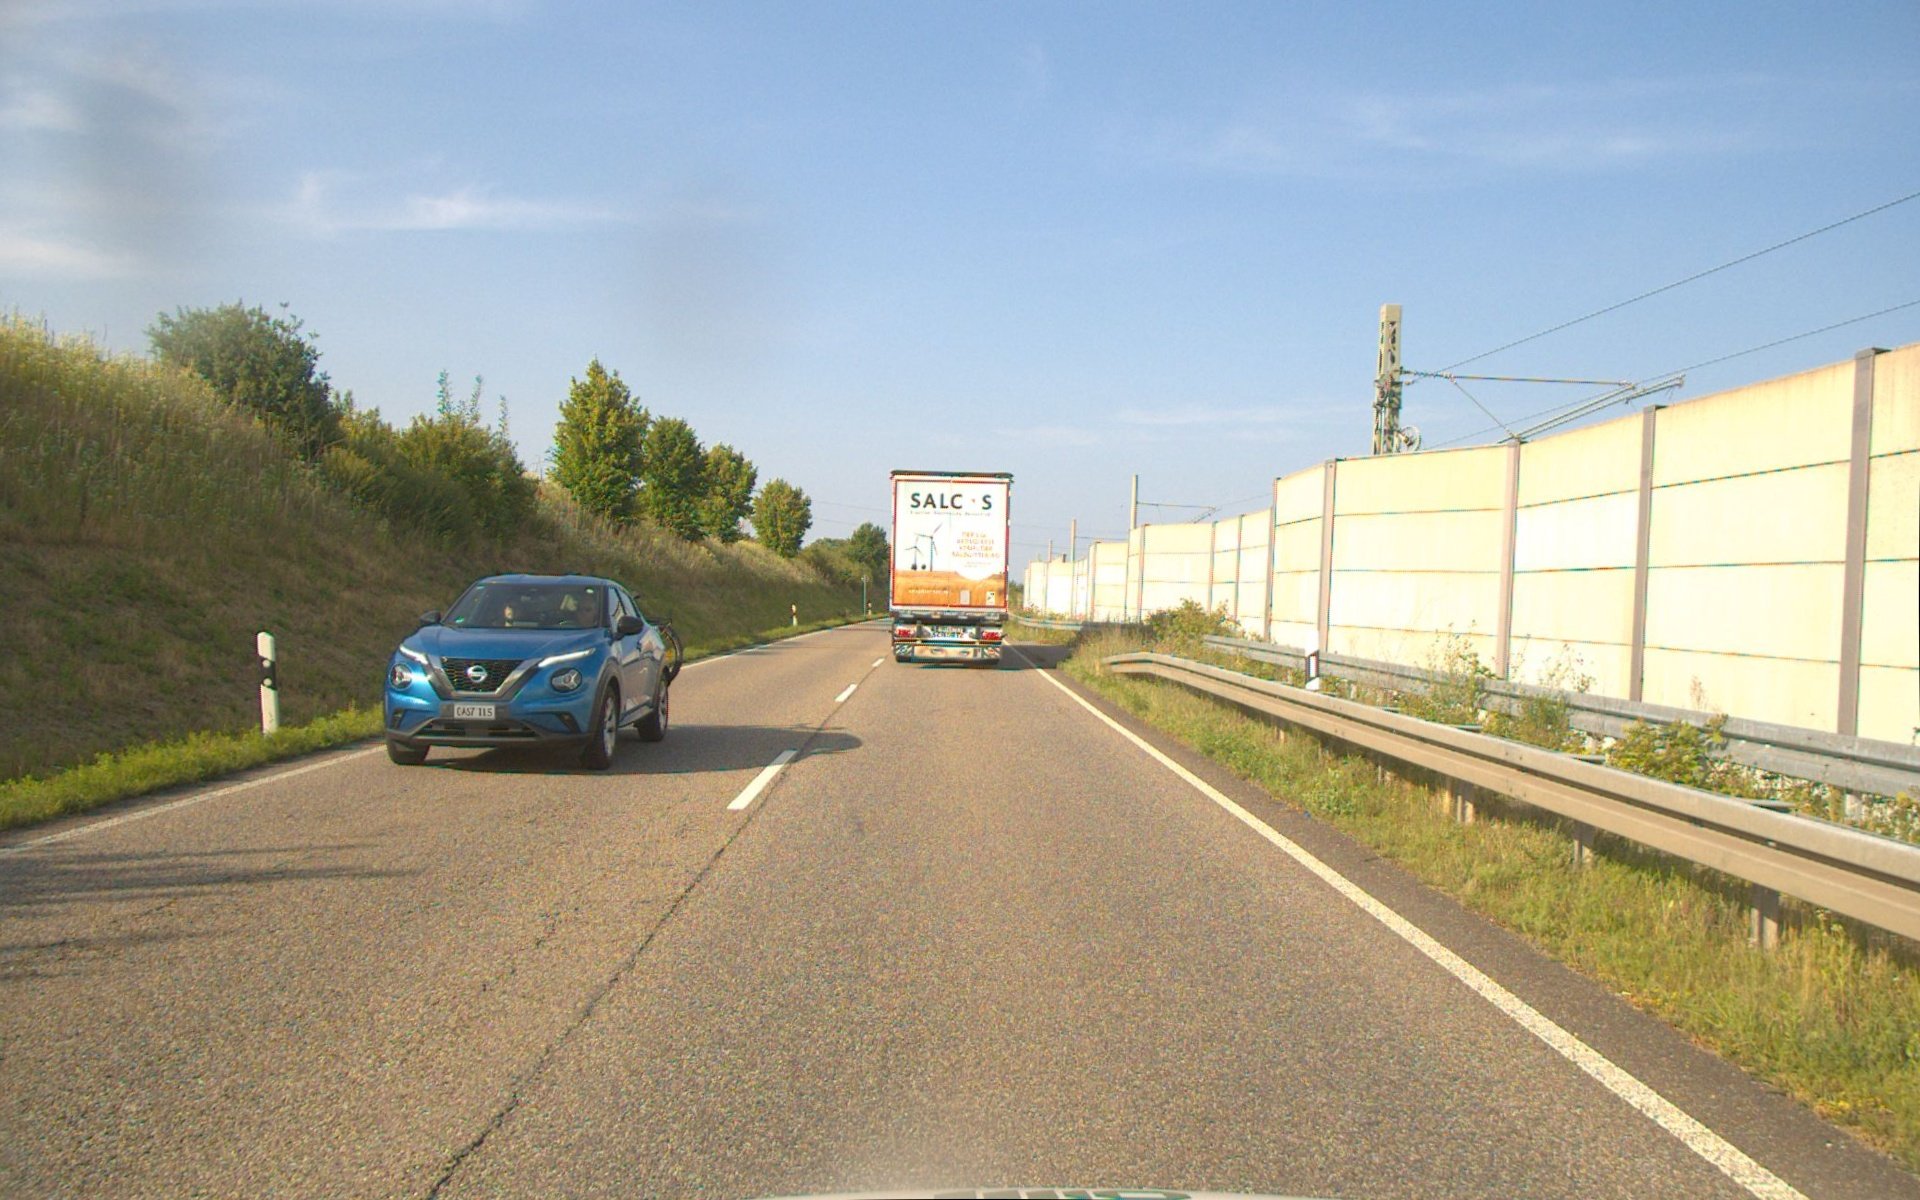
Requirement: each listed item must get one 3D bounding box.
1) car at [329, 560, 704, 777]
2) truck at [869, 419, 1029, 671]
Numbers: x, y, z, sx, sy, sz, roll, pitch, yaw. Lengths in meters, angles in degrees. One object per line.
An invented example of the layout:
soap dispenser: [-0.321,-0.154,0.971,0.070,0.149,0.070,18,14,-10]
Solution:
car: [-3.830,0.533,15.443,2.097,1.601,5.338,2,0,-1]
truck: [-0.325,-1.170,40.444,3.224,5.179,12.035,1,0,-1]
